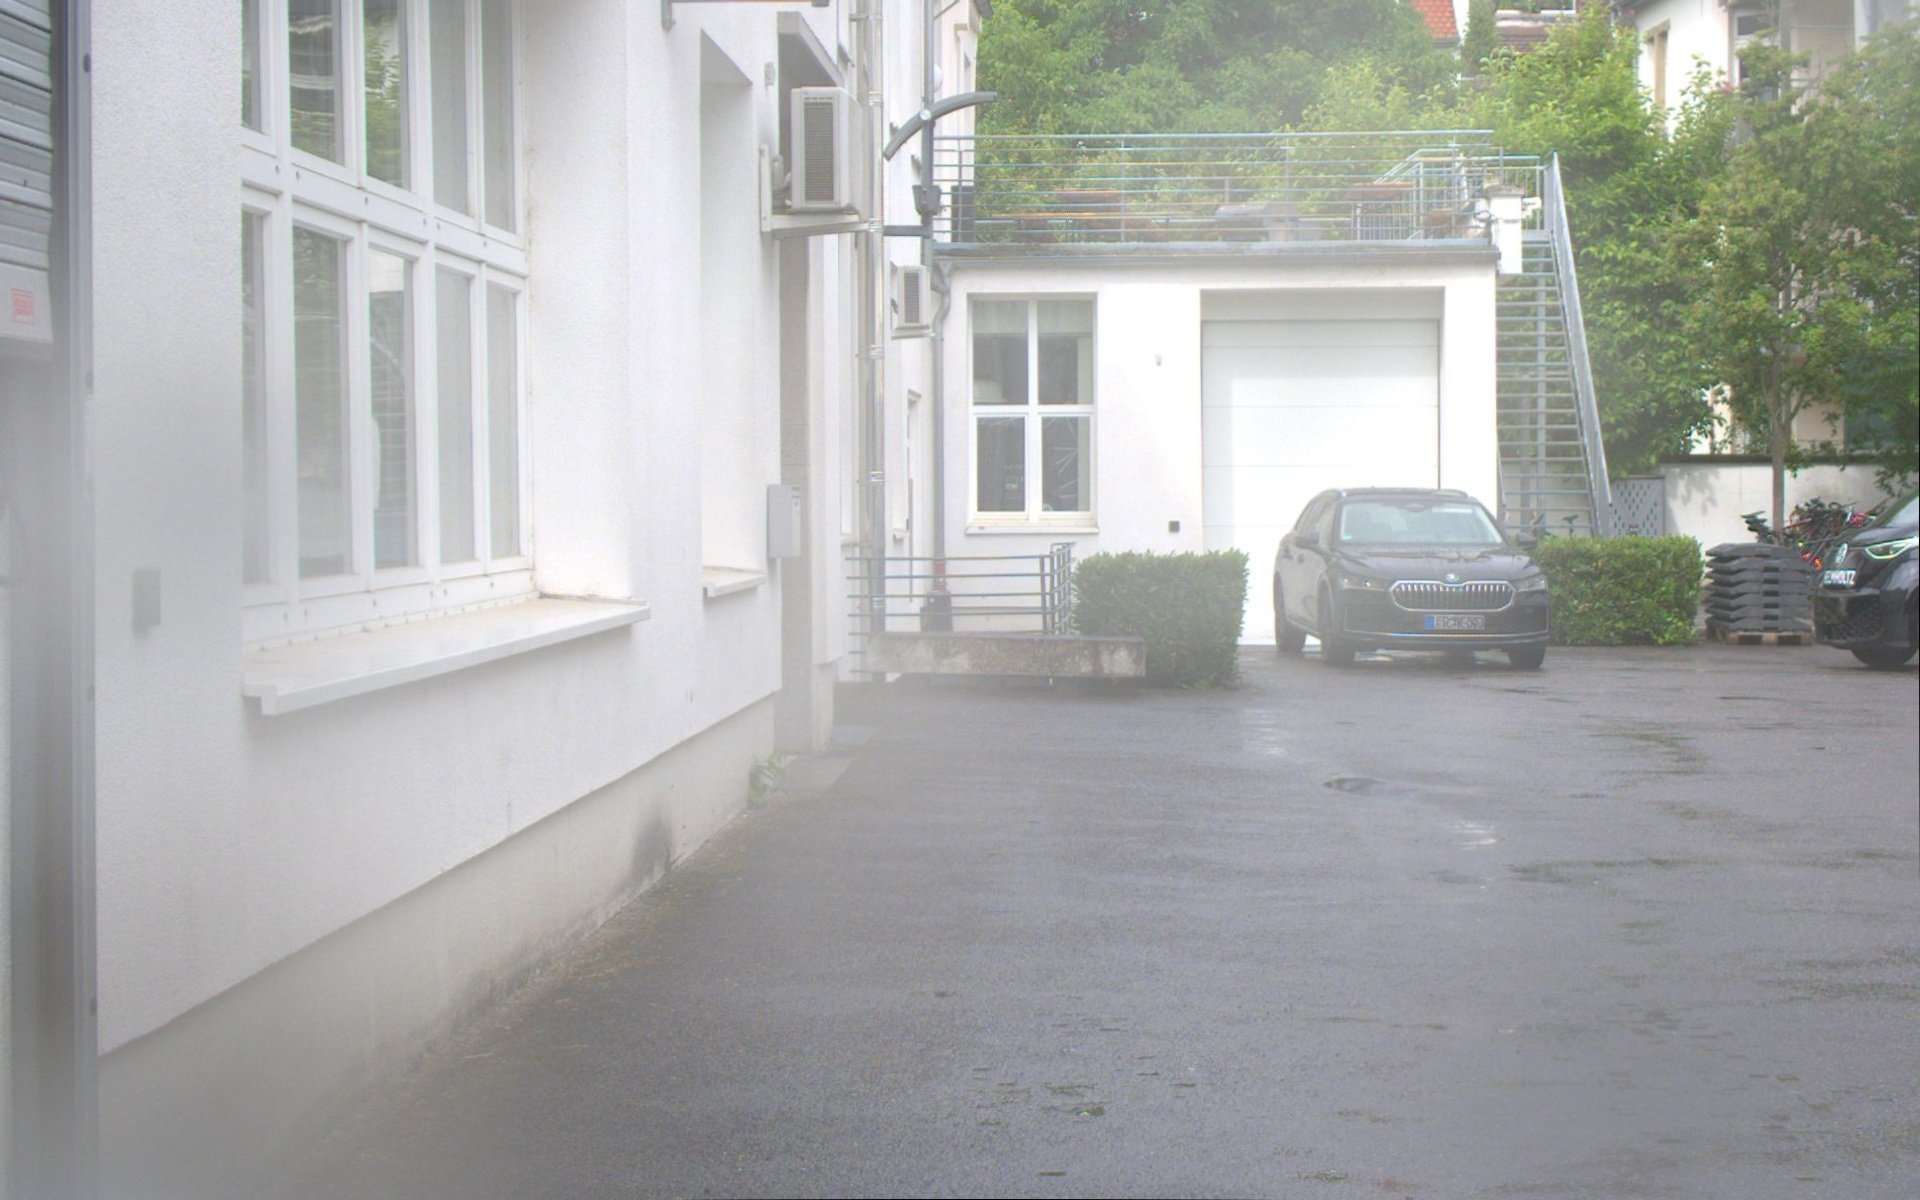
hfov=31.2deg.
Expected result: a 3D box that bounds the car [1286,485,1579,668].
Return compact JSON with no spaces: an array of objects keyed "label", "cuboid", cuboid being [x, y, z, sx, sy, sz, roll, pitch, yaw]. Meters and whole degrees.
[{"label":"car","cuboid":[3.928,-0.254,29.209,1.979,1.439,4.000,0,2,1]}]

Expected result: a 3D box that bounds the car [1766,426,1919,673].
[{"label":"car","cuboid":[9.513,-0.515,29.278,4.634,1.996,2.226,-2,2,-7]}]
